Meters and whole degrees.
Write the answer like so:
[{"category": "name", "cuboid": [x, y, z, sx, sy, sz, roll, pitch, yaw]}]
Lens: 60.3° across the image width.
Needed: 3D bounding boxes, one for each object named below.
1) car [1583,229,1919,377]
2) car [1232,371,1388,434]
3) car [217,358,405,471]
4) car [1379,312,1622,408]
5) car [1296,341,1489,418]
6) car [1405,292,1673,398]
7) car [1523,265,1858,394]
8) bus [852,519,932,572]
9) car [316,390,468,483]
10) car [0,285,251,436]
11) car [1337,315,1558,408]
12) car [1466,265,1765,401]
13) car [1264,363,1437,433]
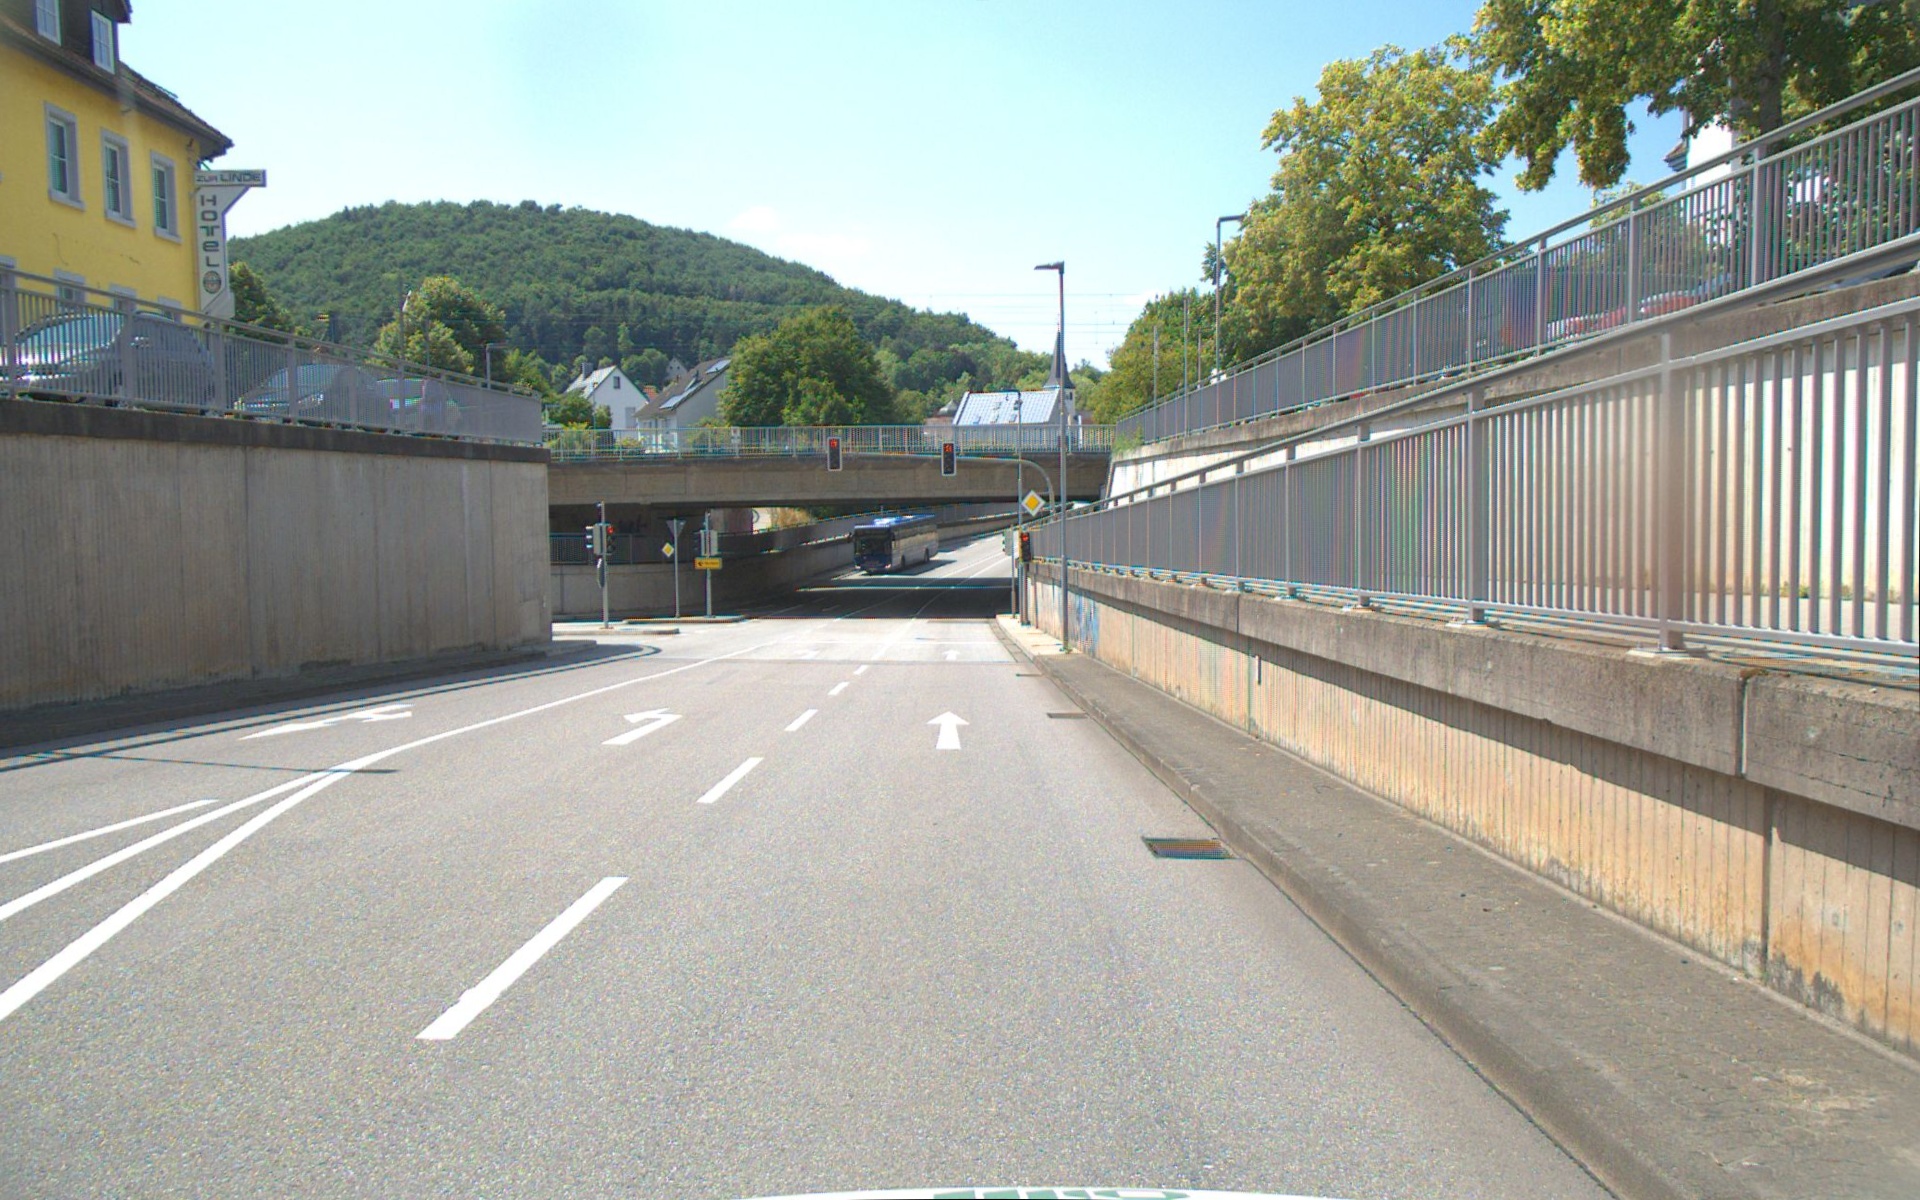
[{"category": "car", "cuboid": [9.948, -3.614, 20.356, 3.904, 1.512, 1.770, 0, 0, 3]}, {"category": "car", "cuboid": [9.476, -5.347, 44.965, 3.904, 1.512, 1.770, 0, 0, 3]}, {"category": "car", "cuboid": [-11.389, -3.217, 29.360, 1.786, 1.735, 4.222, 0, 3, -2]}, {"category": "car", "cuboid": [9.820, -4.363, 30.269, 3.904, 1.512, 1.770, 0, 0, 3]}, {"category": "car", "cuboid": [9.662, -4.932, 37.176, 3.904, 1.512, 1.770, 0, 0, 3]}, {"category": "car", "cuboid": [9.663, -4.261, 27.822, 3.904, 1.512, 1.770, 0, 0, 3]}, {"category": "car", "cuboid": [10.114, -3.745, 23.123, 3.904, 1.512, 1.770, 0, 0, 3]}, {"category": "bus", "cuboid": [-4.259, -3.609, 106.977, 2.526, 3.227, 12.391, 0, 3, 10]}, {"category": "car", "cuboid": [-11.623, -3.316, 34.122, 1.864, 1.696, 4.000, 0, 3, -2]}, {"category": "car", "cuboid": [-11.104, -3.053, 21.776, 1.762, 1.551, 4.392, 0, 3, -2]}, {"category": "car", "cuboid": [9.615, -4.716, 32.857, 3.904, 1.594, 1.770, 0, 0, 3]}, {"category": "car", "cuboid": [9.959, -4.058, 25.357, 3.904, 1.801, 1.770, 0, 0, 3]}, {"category": "car", "cuboid": [9.583, -4.972, 40.850, 3.904, 1.512, 1.770, 0, 0, 3]}]
